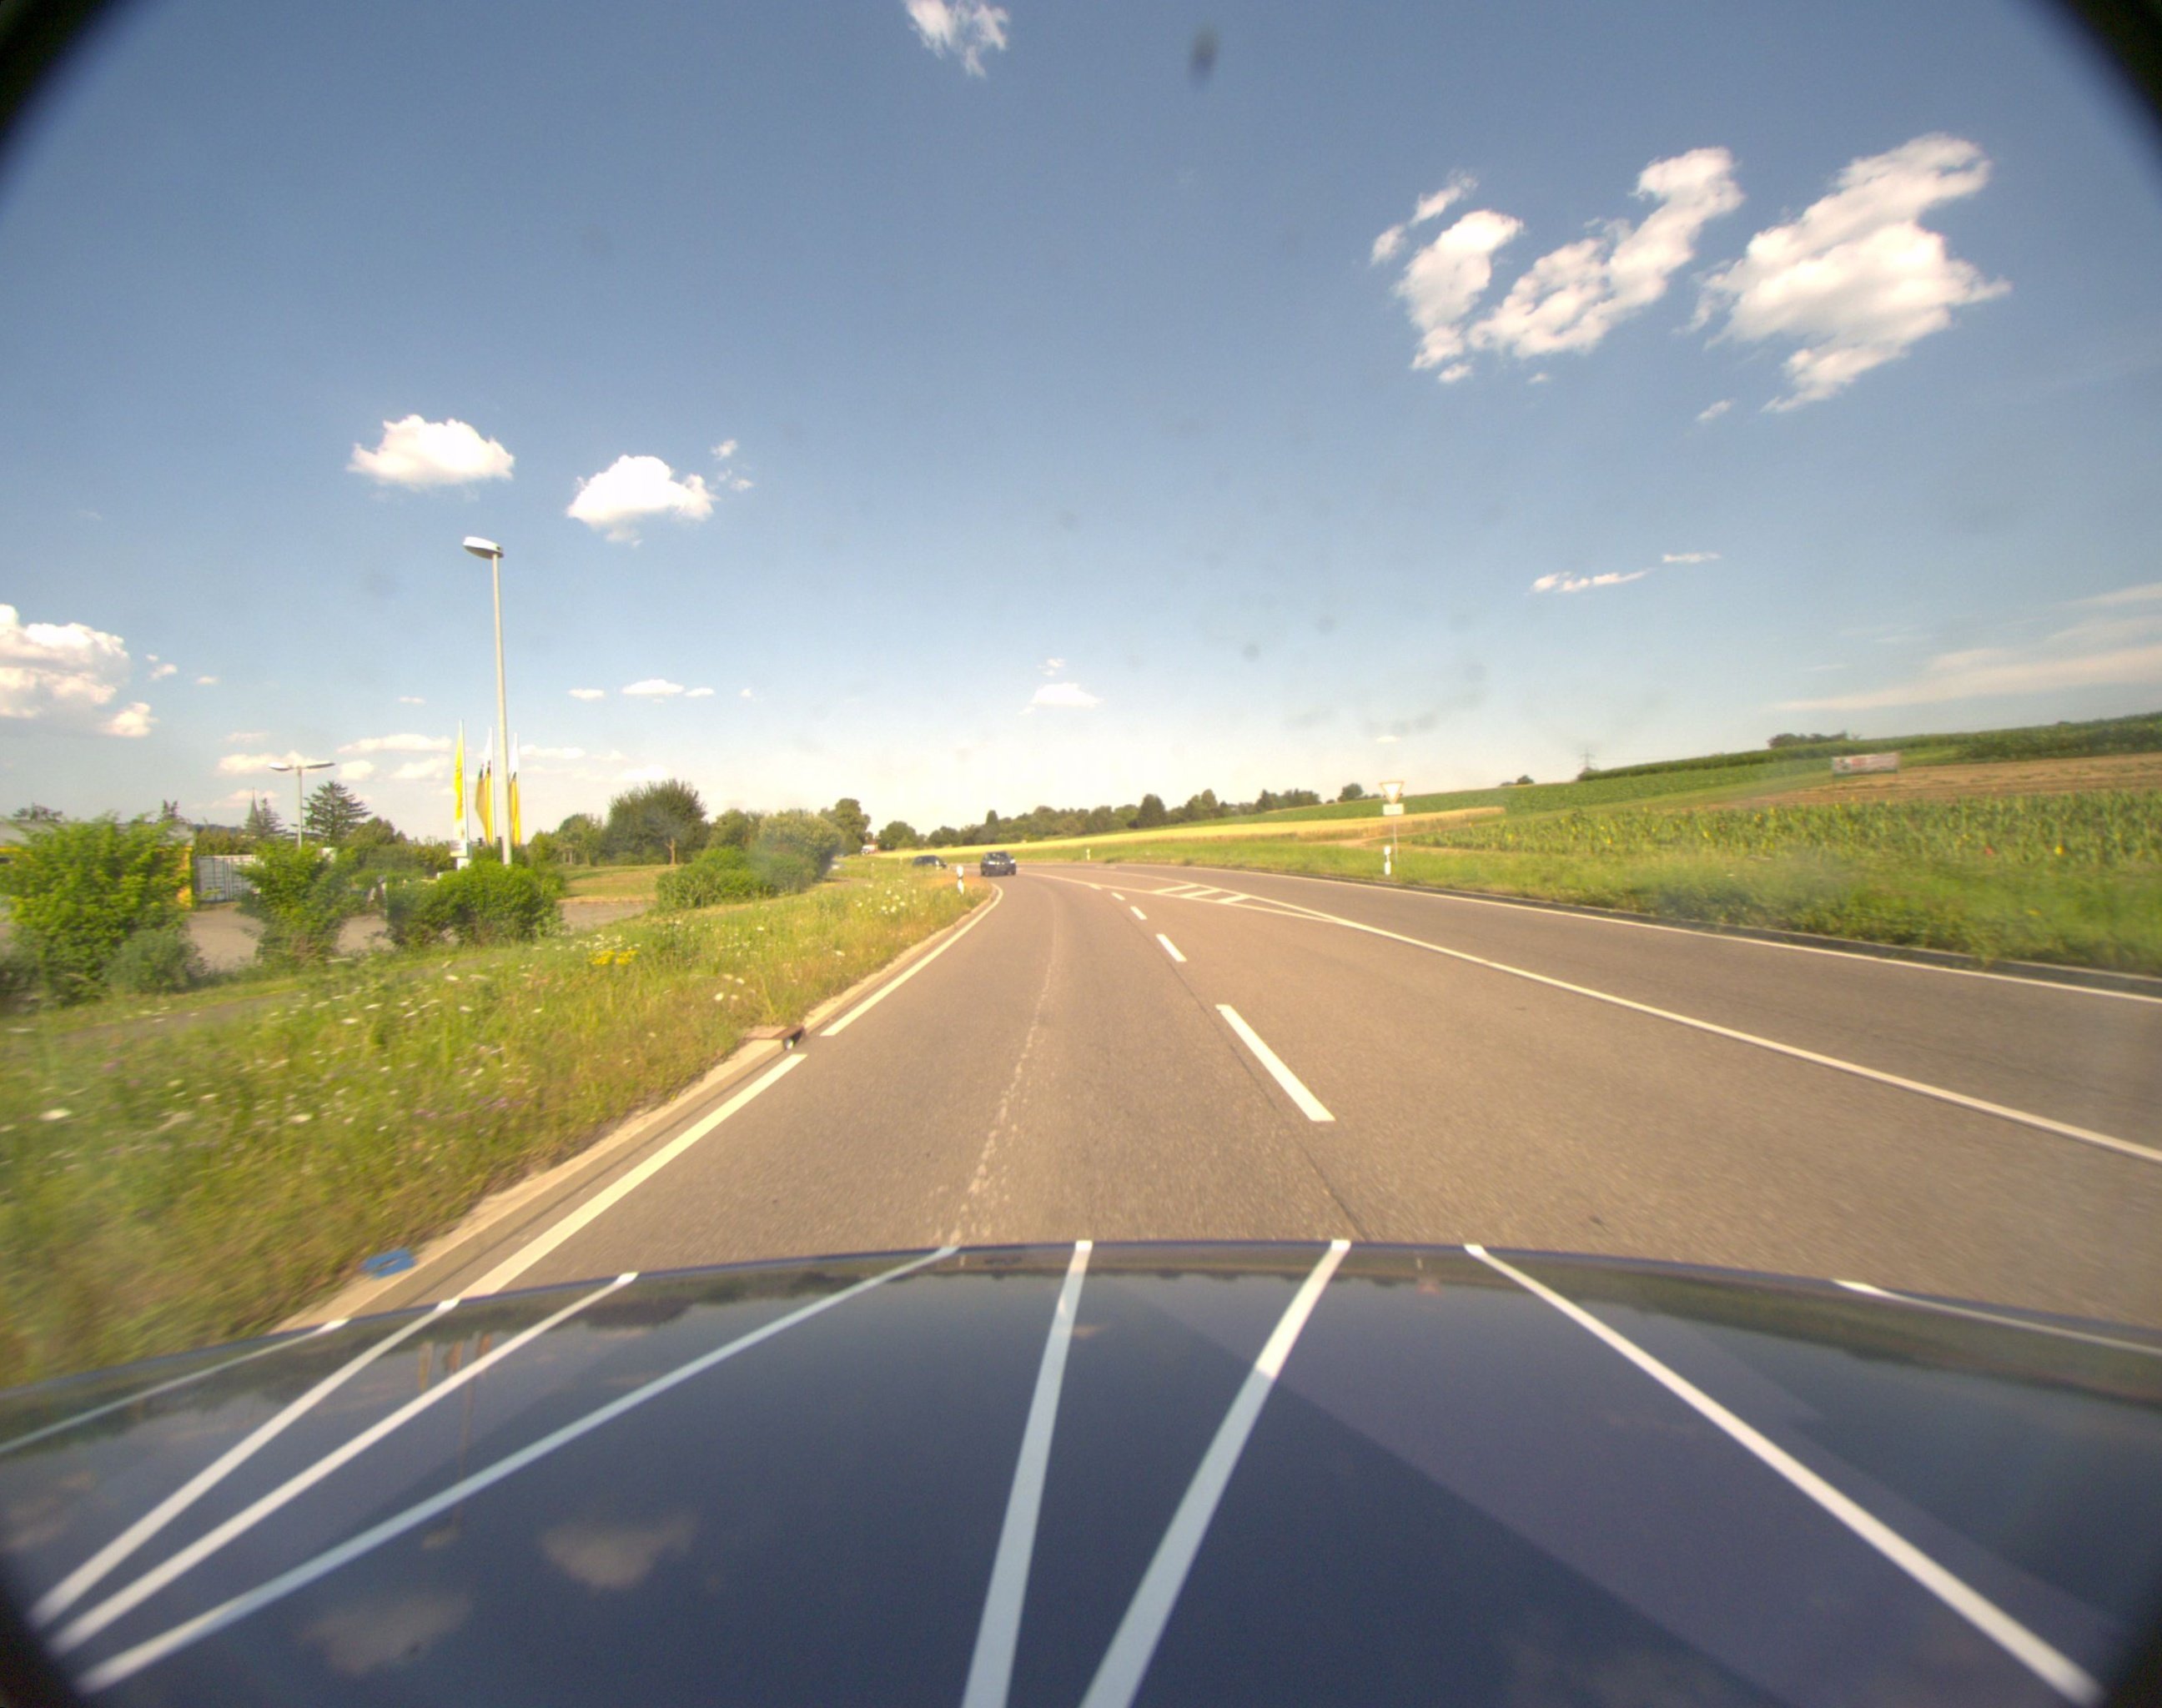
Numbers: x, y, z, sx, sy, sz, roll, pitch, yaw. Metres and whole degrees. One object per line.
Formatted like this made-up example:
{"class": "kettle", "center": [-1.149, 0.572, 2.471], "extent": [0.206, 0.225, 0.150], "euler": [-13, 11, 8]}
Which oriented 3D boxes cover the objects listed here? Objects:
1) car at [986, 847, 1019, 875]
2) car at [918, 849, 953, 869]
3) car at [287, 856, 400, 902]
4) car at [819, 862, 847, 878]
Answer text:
{"class": "car", "center": [-5.312, 0.451, 50.986], "extent": [1.789, 1.620, 4.463], "euler": [-4, 2, -10]}
{"class": "car", "center": [-12.959, 0.432, 67.420], "extent": [1.778, 1.604, 4.537], "euler": [-5, 2, -27]}
{"class": "car", "center": [-39.082, 1.284, 40.363], "extent": [3.691, 2.103, 1.918], "euler": [-5, 2, -15]}
{"class": "car", "center": [-26.766, 1.745, 82.008], "extent": [2.744, 1.498, 1.526], "euler": [-2, 3, 40]}
